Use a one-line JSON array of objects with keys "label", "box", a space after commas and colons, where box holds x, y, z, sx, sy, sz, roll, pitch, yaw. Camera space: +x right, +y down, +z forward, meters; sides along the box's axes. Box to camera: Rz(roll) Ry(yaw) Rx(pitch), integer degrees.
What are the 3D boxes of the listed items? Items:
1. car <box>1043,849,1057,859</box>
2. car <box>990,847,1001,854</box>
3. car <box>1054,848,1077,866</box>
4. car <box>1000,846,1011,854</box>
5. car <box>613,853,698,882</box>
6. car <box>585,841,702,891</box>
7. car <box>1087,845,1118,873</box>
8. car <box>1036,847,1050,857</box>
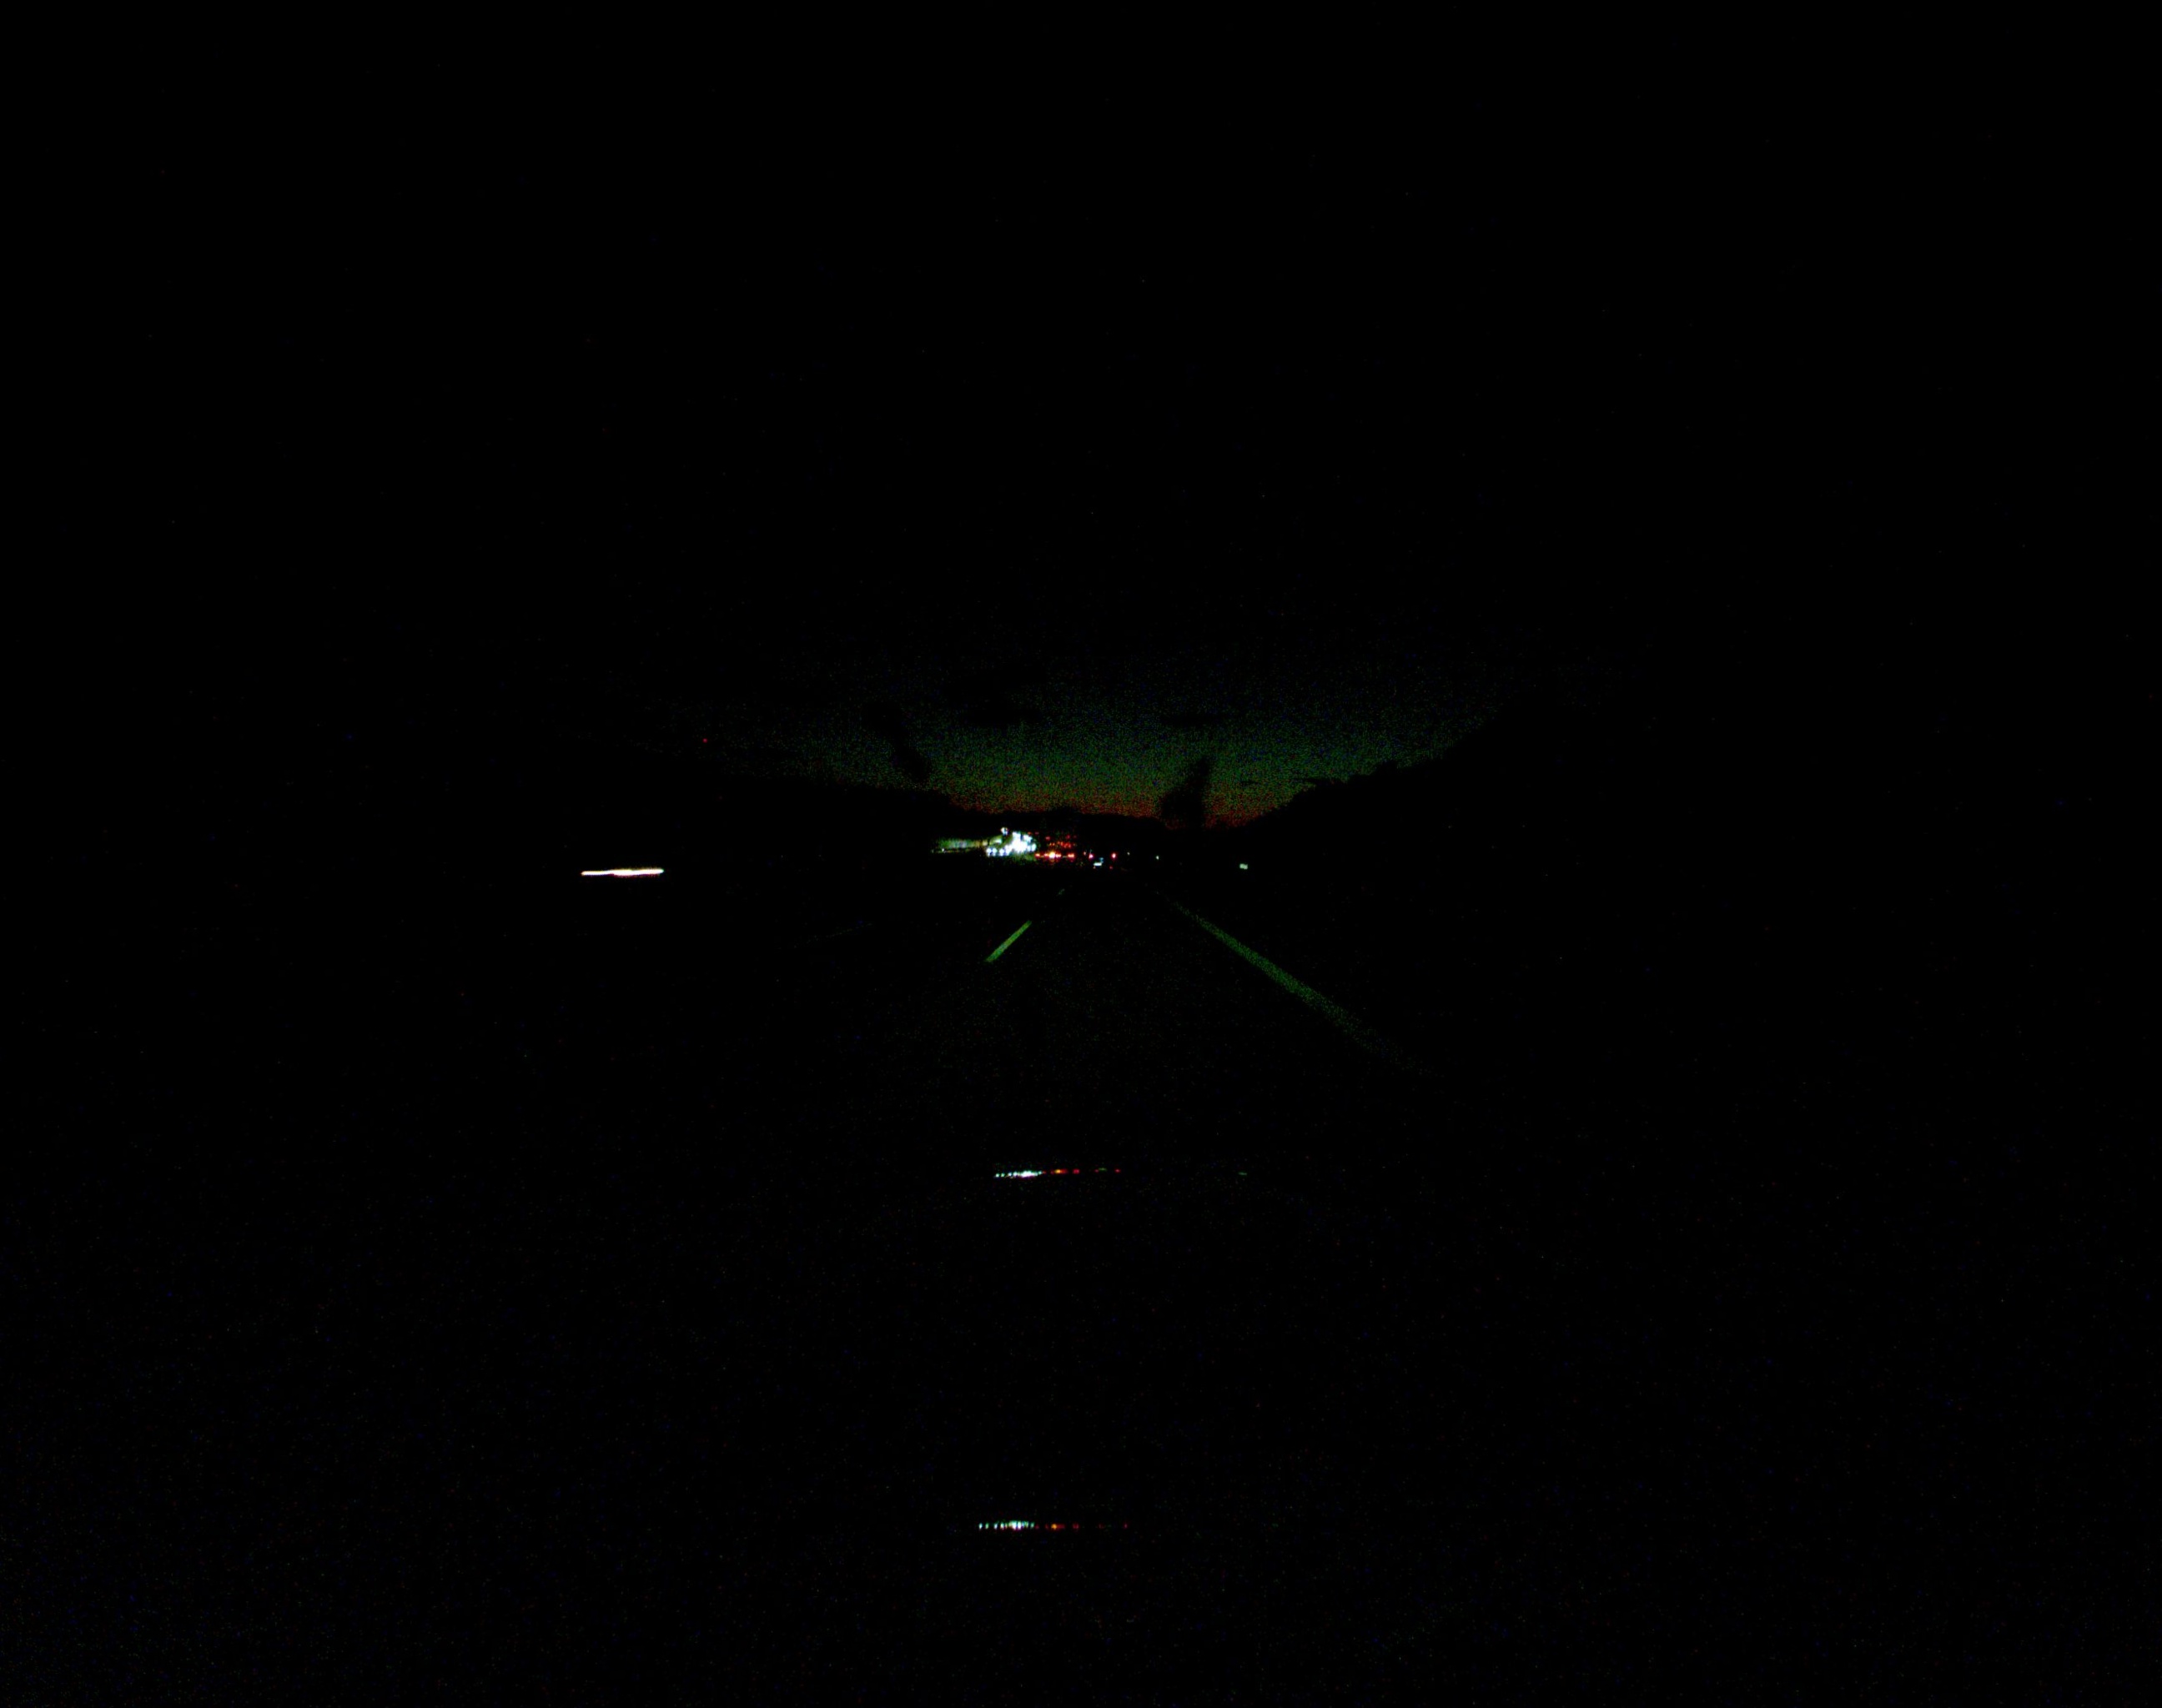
[{"label": "car", "box": [-4.791, -0.004, 128.130, 1.772, 1.487, 5.257, 0, 1, 2]}, {"label": "car", "box": [-21.781, -0.894, 206.894, 2.097, 1.688, 5.386, 0, 0, 1]}, {"label": "car", "box": [-1.552, 0.283, 82.961, 1.986, 1.721, 5.944, -1, -1, 2]}, {"label": "car", "box": [-17.969, -0.975, 194.491, 2.097, 1.789, 4.659, 0, 0, 0]}, {"label": "car", "box": [-21.848, 0.680, 42.061, 1.767, 1.429, 4.662, 0, 0, 2]}, {"label": "car", "box": [-17.822, 0.461, 33.470, 2.096, 1.885, 4.662, 0, 0, 2]}, {"label": "car", "box": [1.606, 0.313, 61.102, 2.189, 1.955, 4.764, -1, 1, 1]}, {"label": "car", "box": [-5.360, -0.264, 115.754, 1.544, 1.431, 5.515, -1, -1, 1]}]
